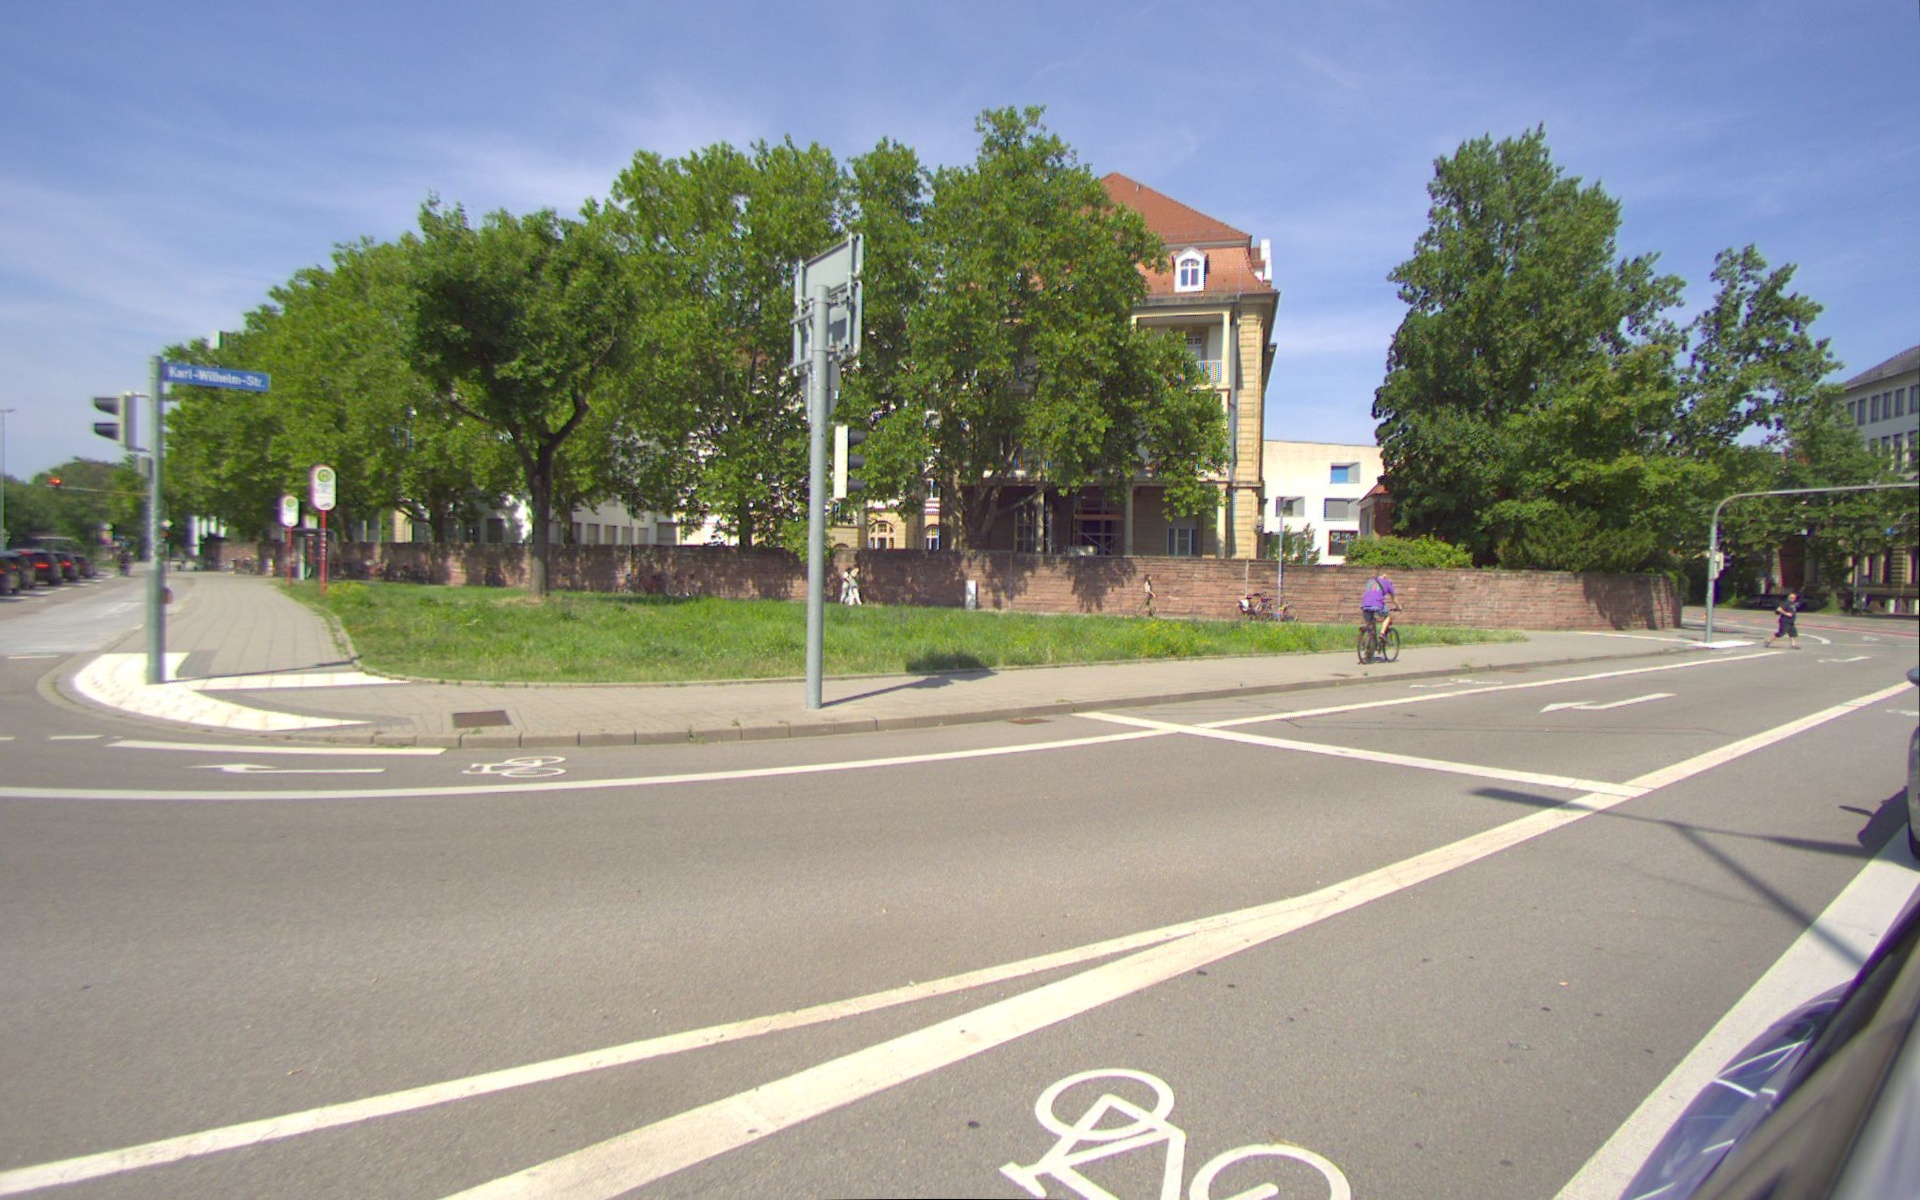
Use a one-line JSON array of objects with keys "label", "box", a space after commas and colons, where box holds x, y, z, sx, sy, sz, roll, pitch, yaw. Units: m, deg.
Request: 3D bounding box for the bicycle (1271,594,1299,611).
[{"label": "bicycle", "box": [12.060, 0.089, 37.512, 0.929, 0.609, 0.275, 1, 1, -2]}]

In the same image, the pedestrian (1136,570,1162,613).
[{"label": "pedestrian", "box": [7.053, -0.319, 37.718, 0.900, 1.567, 0.501, 2, 2, 13]}]

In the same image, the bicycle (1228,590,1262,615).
[{"label": "bicycle", "box": [10.497, 0.108, 37.251, 1.202, 0.894, 0.395, 1, 2, -21]}]

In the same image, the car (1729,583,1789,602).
[{"label": "car", "box": [74.912, -0.692, 94.941, 3.943, 1.682, 1.992, 0, 3, 16]}]

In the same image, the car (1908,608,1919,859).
[{"label": "car", "box": [7.148, 0.598, 5.961, 4.077, 1.605, 1.688, 0, 2, -39]}]

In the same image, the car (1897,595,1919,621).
[{"label": "car", "box": [67.705, 0.560, 69.831, 3.942, 1.682, 1.992, 0, 3, 15]}]

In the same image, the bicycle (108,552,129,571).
[{"label": "bicycle", "box": [-57.041, -2.594, 68.619, 0.832, 1.233, 3.485, 0, 0, -35]}]

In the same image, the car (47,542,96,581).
[{"label": "car", "box": [-49.107, -2.161, 55.914, 1.966, 2.038, 3.994, 0, 2, -42]}]

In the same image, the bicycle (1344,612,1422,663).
[{"label": "bicycle", "box": [8.407, 0.715, 20.066, 1.900, 0.898, 0.684, -1, 3, -43]}]

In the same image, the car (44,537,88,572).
[{"label": "car", "box": [-54.851, -2.799, 62.124, 1.966, 2.038, 3.994, 0, 2, -42]}]

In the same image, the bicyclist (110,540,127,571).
[{"label": "bicyclist", "box": [-57.131, -3.005, 68.739, 0.763, 2.039, 1.274, 0, 0, -34]}]

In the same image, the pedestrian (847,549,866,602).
[{"label": "pedestrian", "box": [-4.036, -0.951, 39.568, 0.586, 2.038, 0.522, 1, 2, 8]}]

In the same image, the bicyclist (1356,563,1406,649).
[{"label": "bicyclist", "box": [8.344, 0.103, 20.035, 1.067, 1.657, 0.487, 0, 2, -44]}]

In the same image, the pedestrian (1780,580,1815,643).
[{"label": "pedestrian", "box": [27.775, 0.359, 33.572, 0.790, 2.039, 0.608, 2, 1, 35]}]

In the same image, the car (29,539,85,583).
[{"label": "car", "box": [-43.776, -1.917, 49.085, 1.966, 2.038, 3.994, 0, 2, -42]}]

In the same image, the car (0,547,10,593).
[{"label": "car", "box": [-35.791, -1.132, 36.730, 3.985, 1.610, 1.561, 3, 2, 42]}]

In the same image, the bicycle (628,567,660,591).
[{"label": "bicycle", "box": [-14.410, -0.954, 46.166, 1.432, 1.046, 0.444, 2, 2, 24]}]

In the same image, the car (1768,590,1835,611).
[{"label": "car", "box": [73.120, 0.065, 87.955, 3.941, 1.682, 1.993, -1, 3, 14]}]

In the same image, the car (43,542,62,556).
[{"label": "car", "box": [-142.019, -7.913, 158.329, 3.987, 2.039, 1.969, 0, 0, 44]}]
